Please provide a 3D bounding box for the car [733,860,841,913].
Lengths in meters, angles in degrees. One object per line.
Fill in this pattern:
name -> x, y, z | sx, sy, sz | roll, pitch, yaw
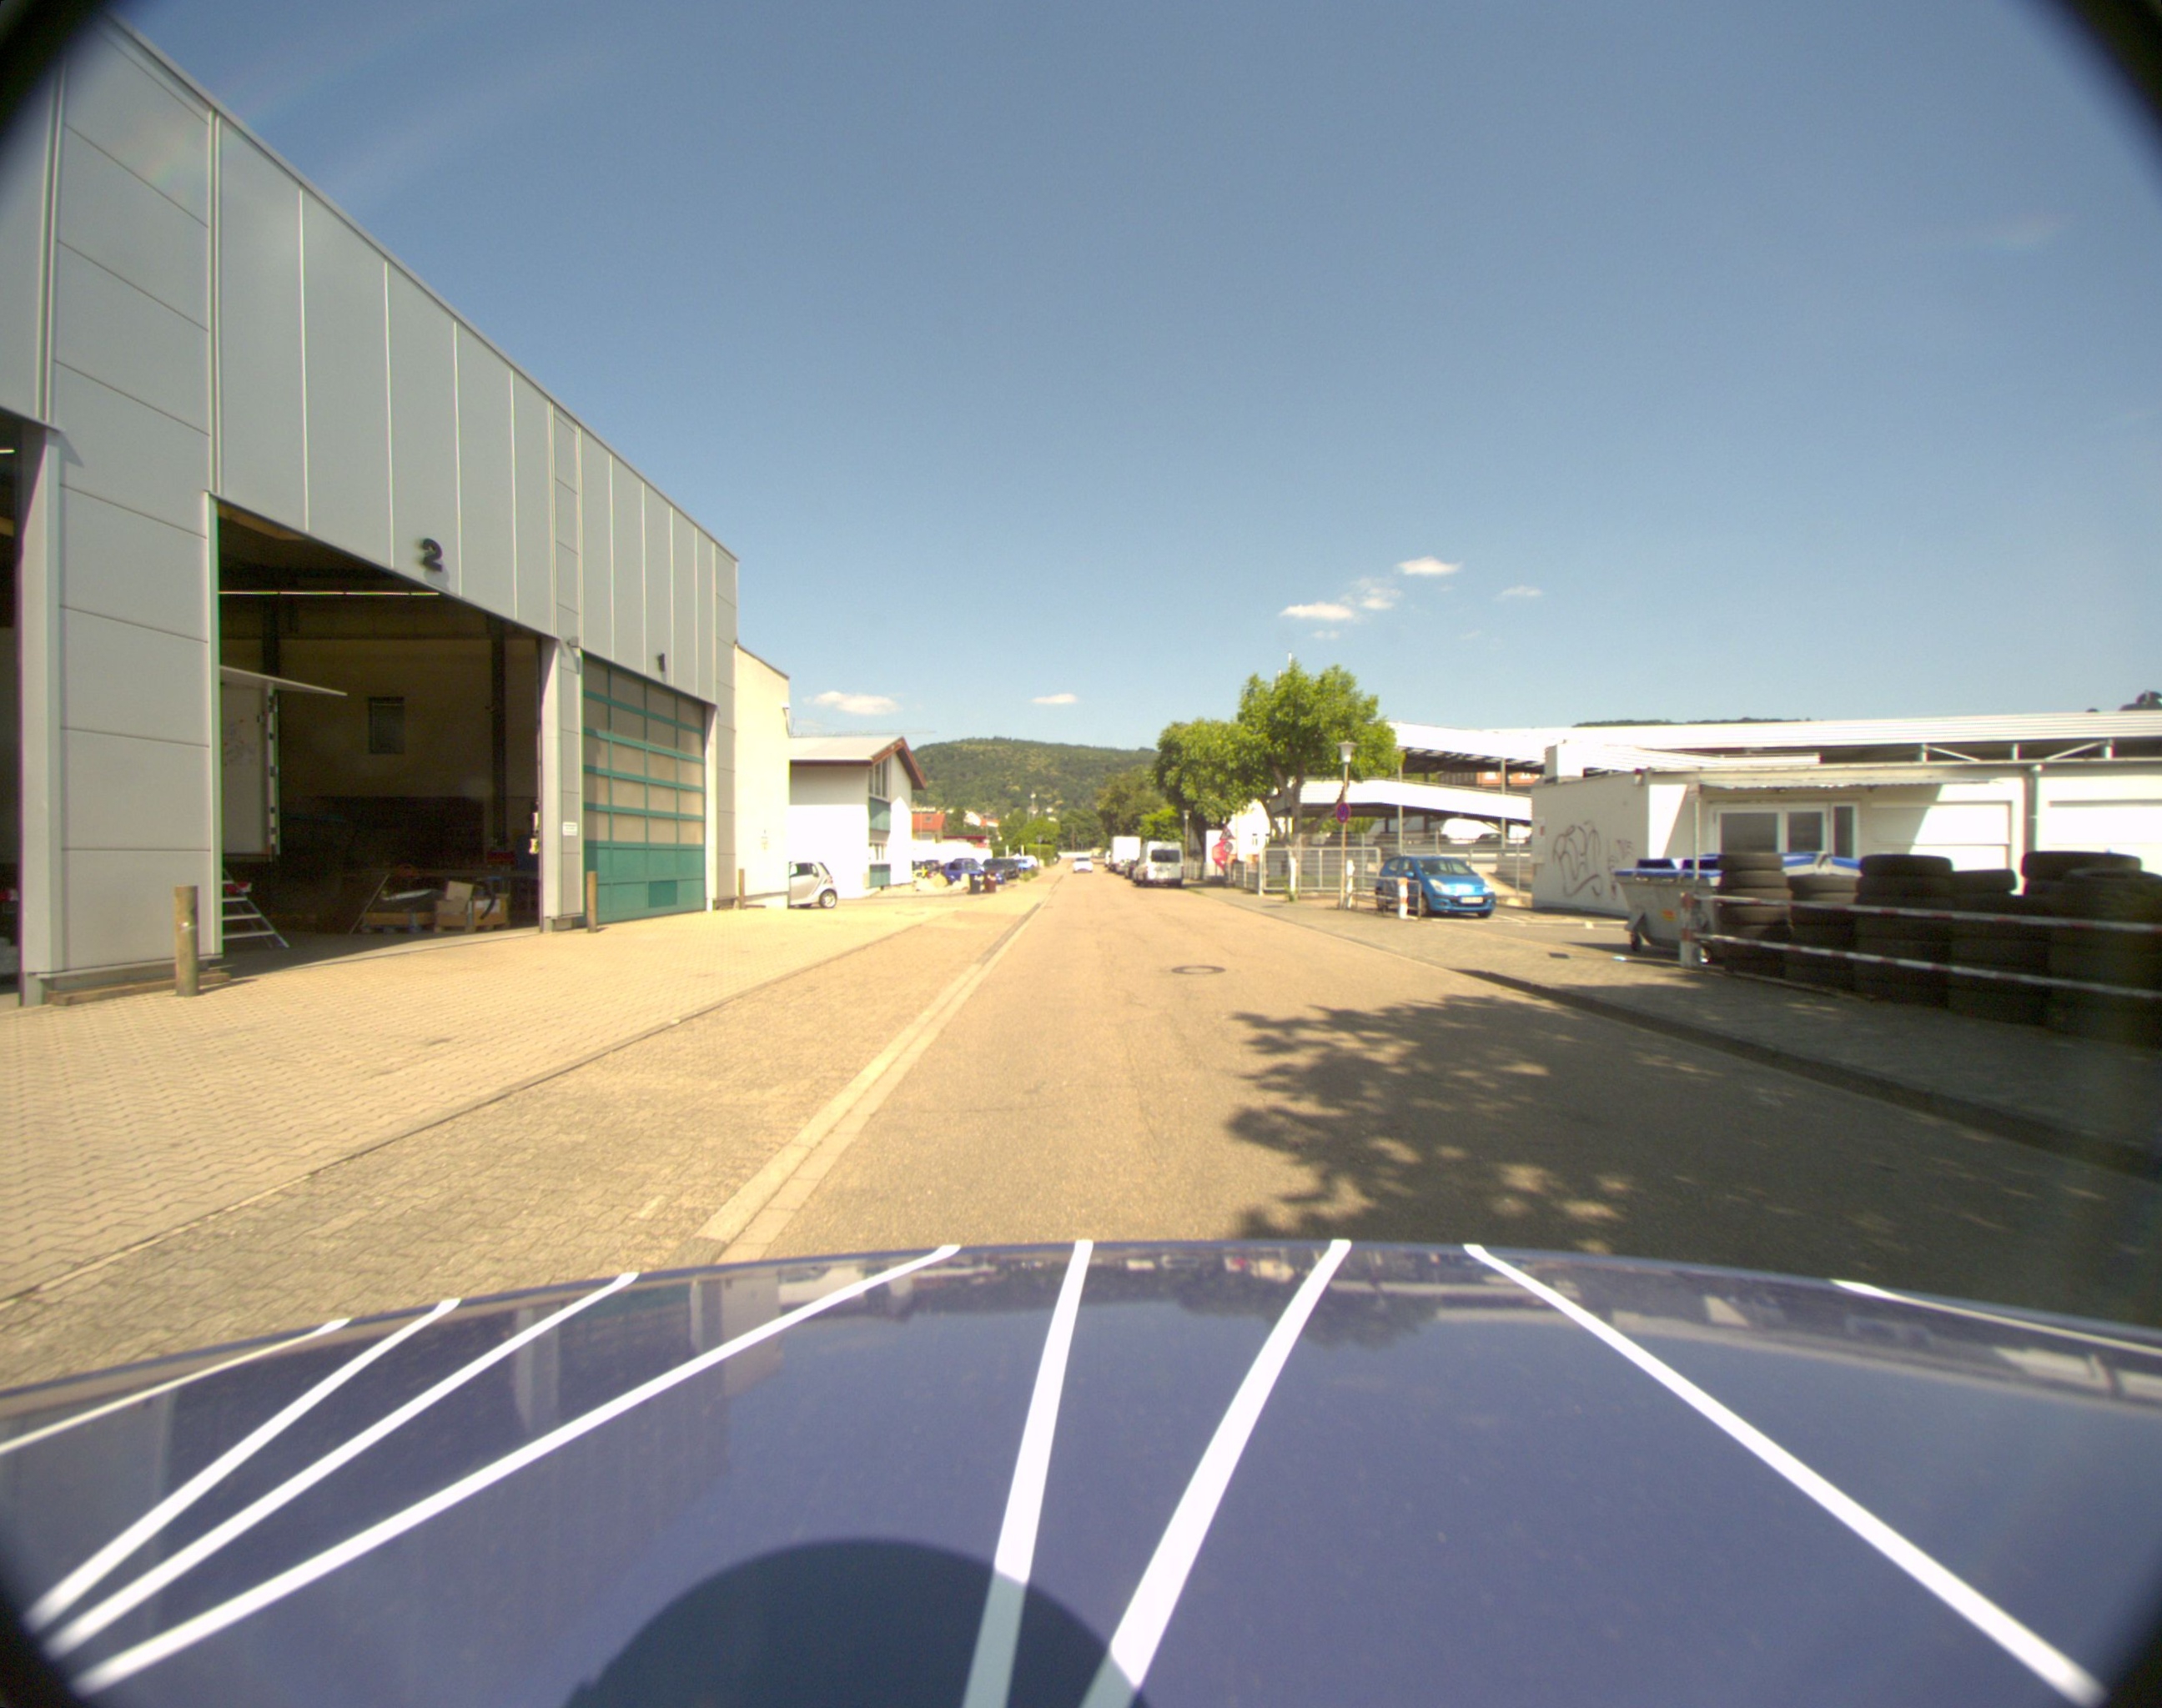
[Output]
car -> -9.082, 0.961, 23.592 | 1.309, 1.525, 2.829 | -2, -1, 43

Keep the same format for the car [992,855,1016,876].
car -> -5.669, 0.827, 55.606 | 1.453, 1.487, 3.184 | 0, 0, -11

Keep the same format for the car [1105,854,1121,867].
car -> 3.974, 0.795, 94.487 | 1.708, 1.564, 3.524 | -2, 1, -3

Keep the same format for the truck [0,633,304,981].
truck -> -15.045, -0.528, 9.562 | 7.855, 3.760, 2.624 | 0, 1, 1

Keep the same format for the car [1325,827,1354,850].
car -> 17.423, -1.005, 51.141 | 1.705, 1.449, 3.531 | 0, 0, 21

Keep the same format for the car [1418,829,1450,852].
car -> 23.379, -0.898, 50.397 | 1.705, 1.449, 3.530 | -2, 1, 21

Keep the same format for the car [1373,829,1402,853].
car -> 20.457, -0.890, 50.827 | 1.705, 1.449, 3.530 | -2, 1, 21

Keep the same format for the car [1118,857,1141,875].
car -> 4.139, 0.983, 65.015 | 1.708, 1.449, 3.525 | 0, 0, 0

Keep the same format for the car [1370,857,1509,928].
car -> 8.627, 0.854, 18.632 | 1.645, 1.449, 3.524 | -2, 1, -1

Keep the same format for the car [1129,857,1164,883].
car -> 4.038, 0.972, 47.370 | 1.708, 1.449, 3.524 | -2, 1, -3

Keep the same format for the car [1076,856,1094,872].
car -> 0.377, 0.948, 73.594 | 1.736, 1.521, 4.109 | 0, 0, 0

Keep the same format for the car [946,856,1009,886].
car -> -5.313, 0.863, 39.161 | 2.975, 1.332, 1.453 | -2, 1, 1

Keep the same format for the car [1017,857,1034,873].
car -> -5.126, 0.970, 70.119 | 1.452, 1.371, 3.185 | -2, 1, -3

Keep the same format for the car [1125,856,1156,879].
car -> 4.193, 0.948, 53.894 | 1.708, 1.449, 3.524 | -2, 1, -3

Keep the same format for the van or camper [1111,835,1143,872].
van or camper -> 4.213, -0.040, 70.857 | 2.525, 3.350, 5.591 | 0, 0, -1

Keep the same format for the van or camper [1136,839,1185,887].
van or camper -> 4.177, 0.421, 40.436 | 2.028, 2.363, 4.684 | 1, 1, -1

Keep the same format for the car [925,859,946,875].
car -> -13.447, 1.162, 70.208 | 1.452, 1.371, 3.185 | -2, 1, -3

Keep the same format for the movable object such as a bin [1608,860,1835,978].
movable object such as a bin -> 8.515, 0.808, 10.296 | 1.383, 1.350, 2.104 | -2, 1, 5
